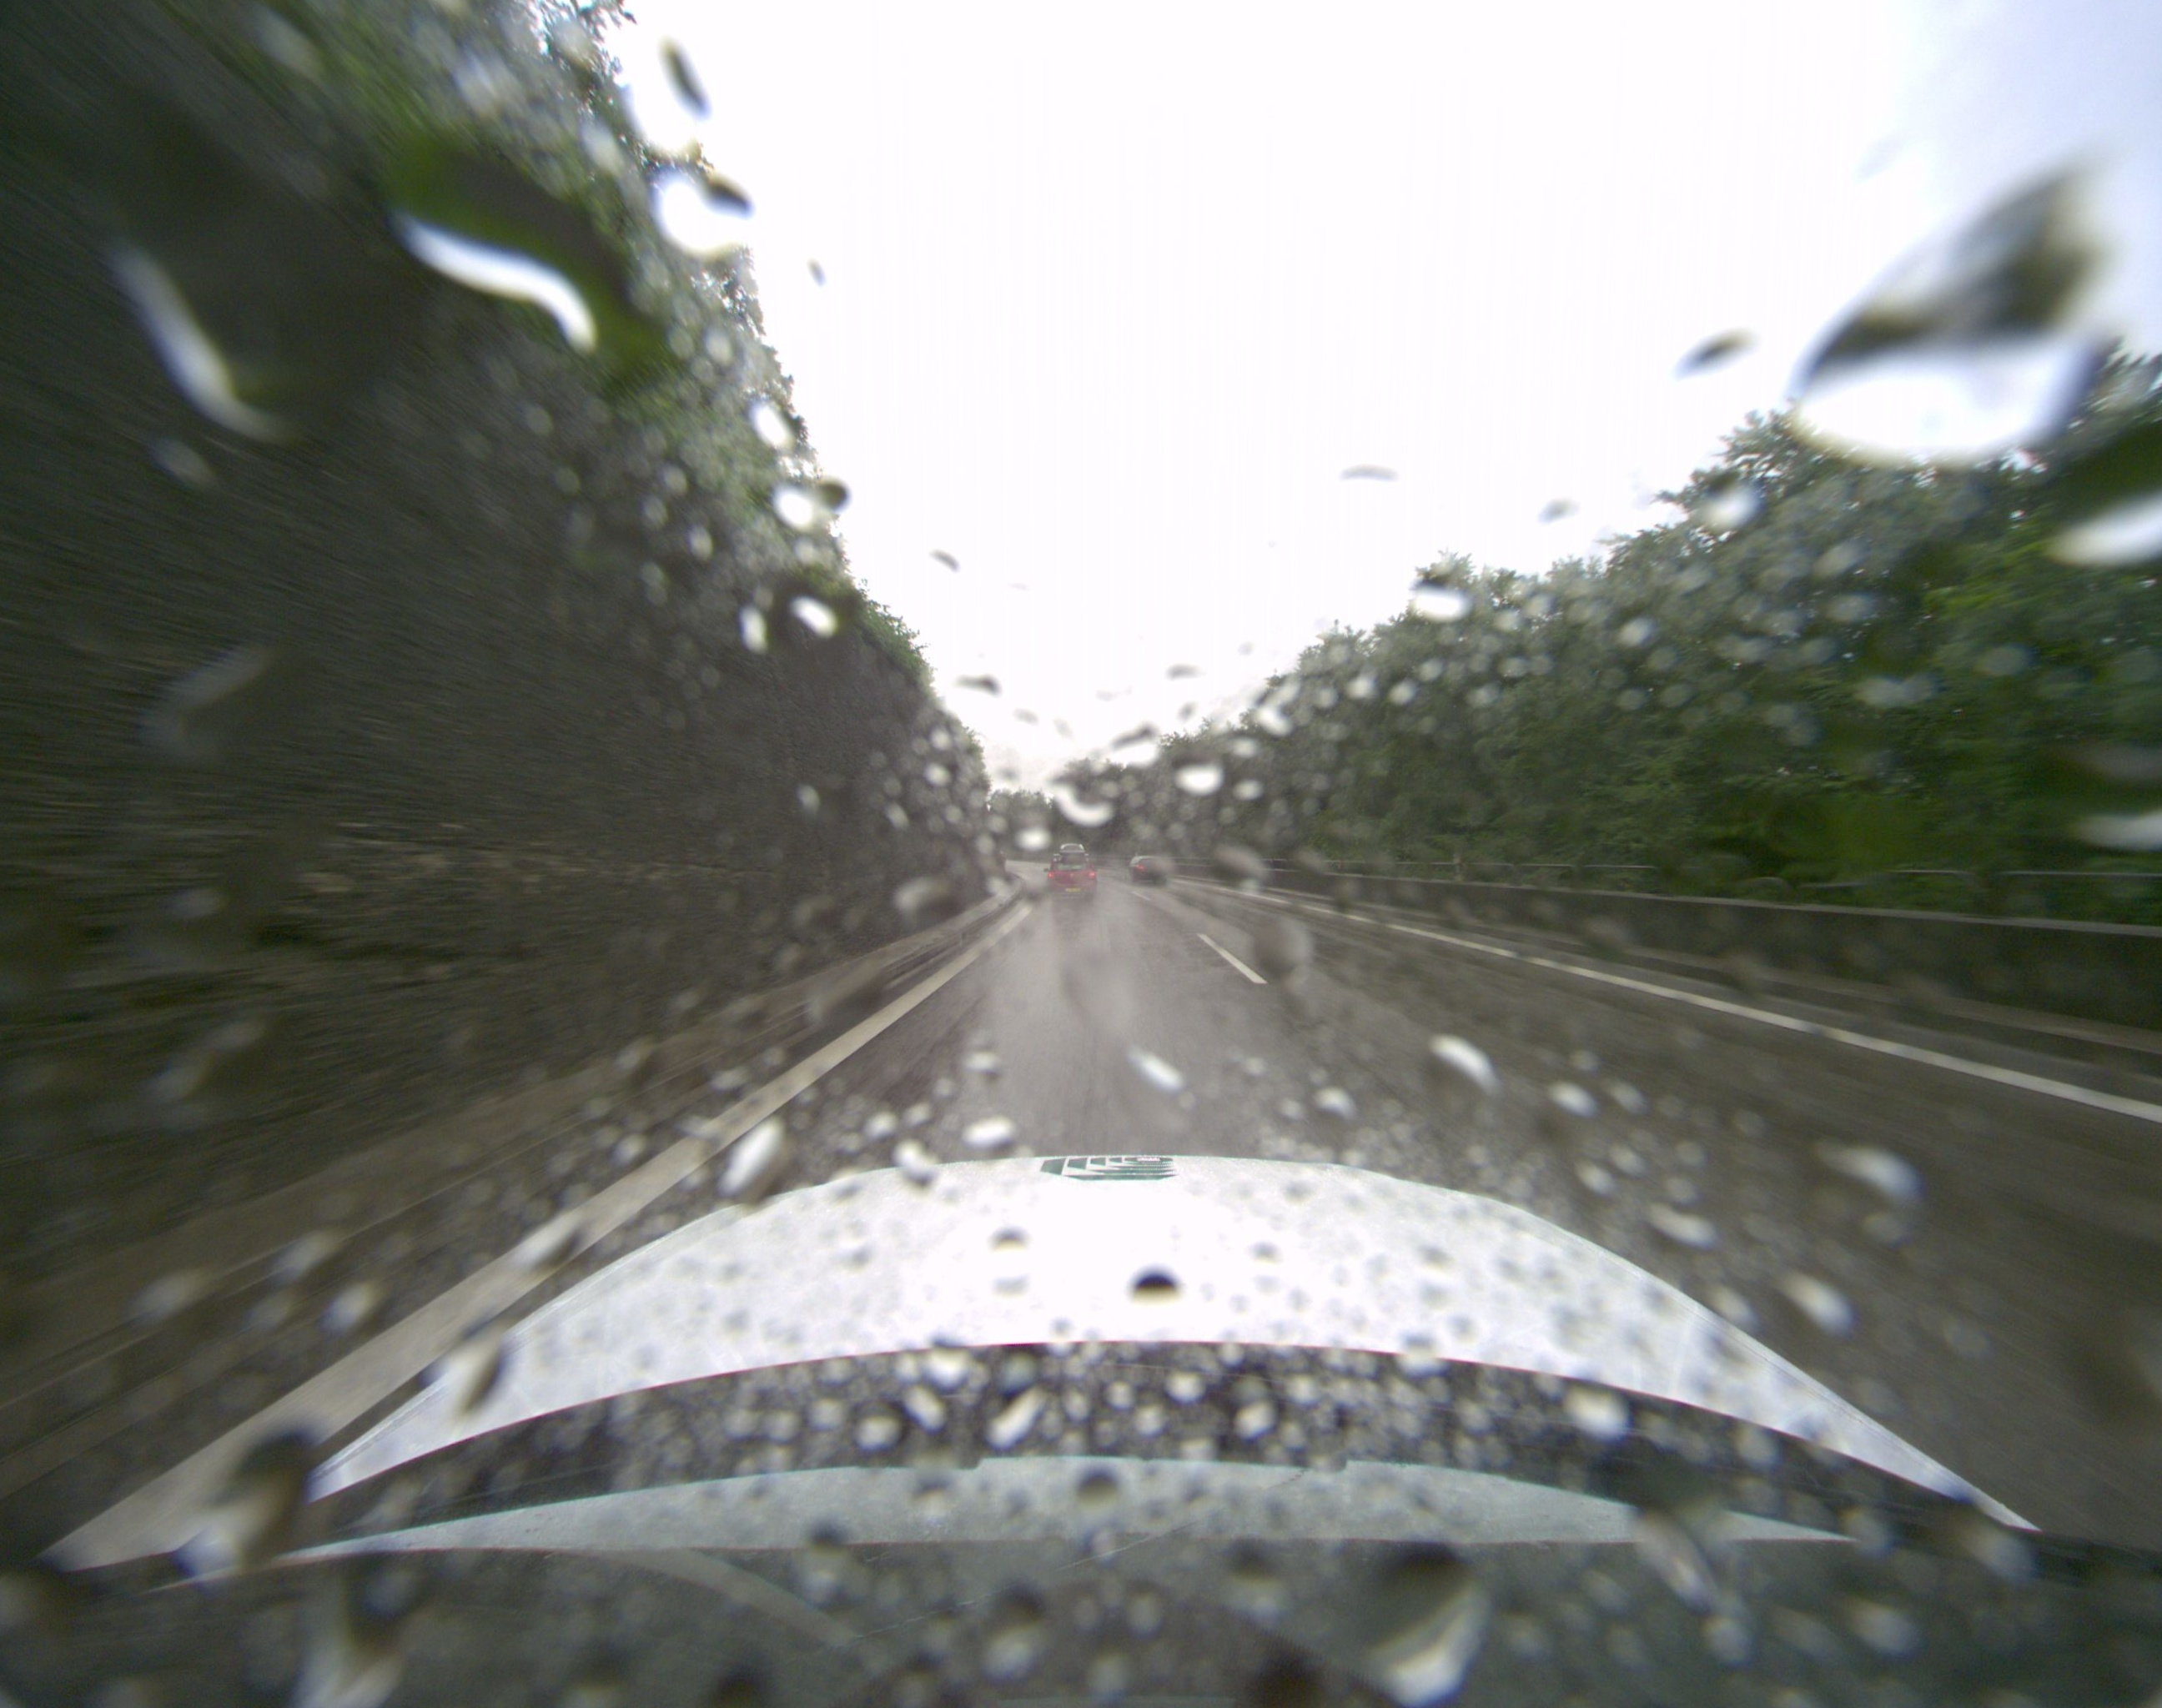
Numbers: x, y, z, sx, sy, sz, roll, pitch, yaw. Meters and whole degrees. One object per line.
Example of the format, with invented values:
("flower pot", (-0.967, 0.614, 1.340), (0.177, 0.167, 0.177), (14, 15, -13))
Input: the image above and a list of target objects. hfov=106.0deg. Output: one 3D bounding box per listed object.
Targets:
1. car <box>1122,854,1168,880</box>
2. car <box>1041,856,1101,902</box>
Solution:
("car", (3.335, 0.664, 43.370), (1.798, 1.308, 3.992), (0, 0, -6))
("car", (-0.392, 0.852, 29.459), (1.988, 1.552, 3.997), (0, 0, -2))
